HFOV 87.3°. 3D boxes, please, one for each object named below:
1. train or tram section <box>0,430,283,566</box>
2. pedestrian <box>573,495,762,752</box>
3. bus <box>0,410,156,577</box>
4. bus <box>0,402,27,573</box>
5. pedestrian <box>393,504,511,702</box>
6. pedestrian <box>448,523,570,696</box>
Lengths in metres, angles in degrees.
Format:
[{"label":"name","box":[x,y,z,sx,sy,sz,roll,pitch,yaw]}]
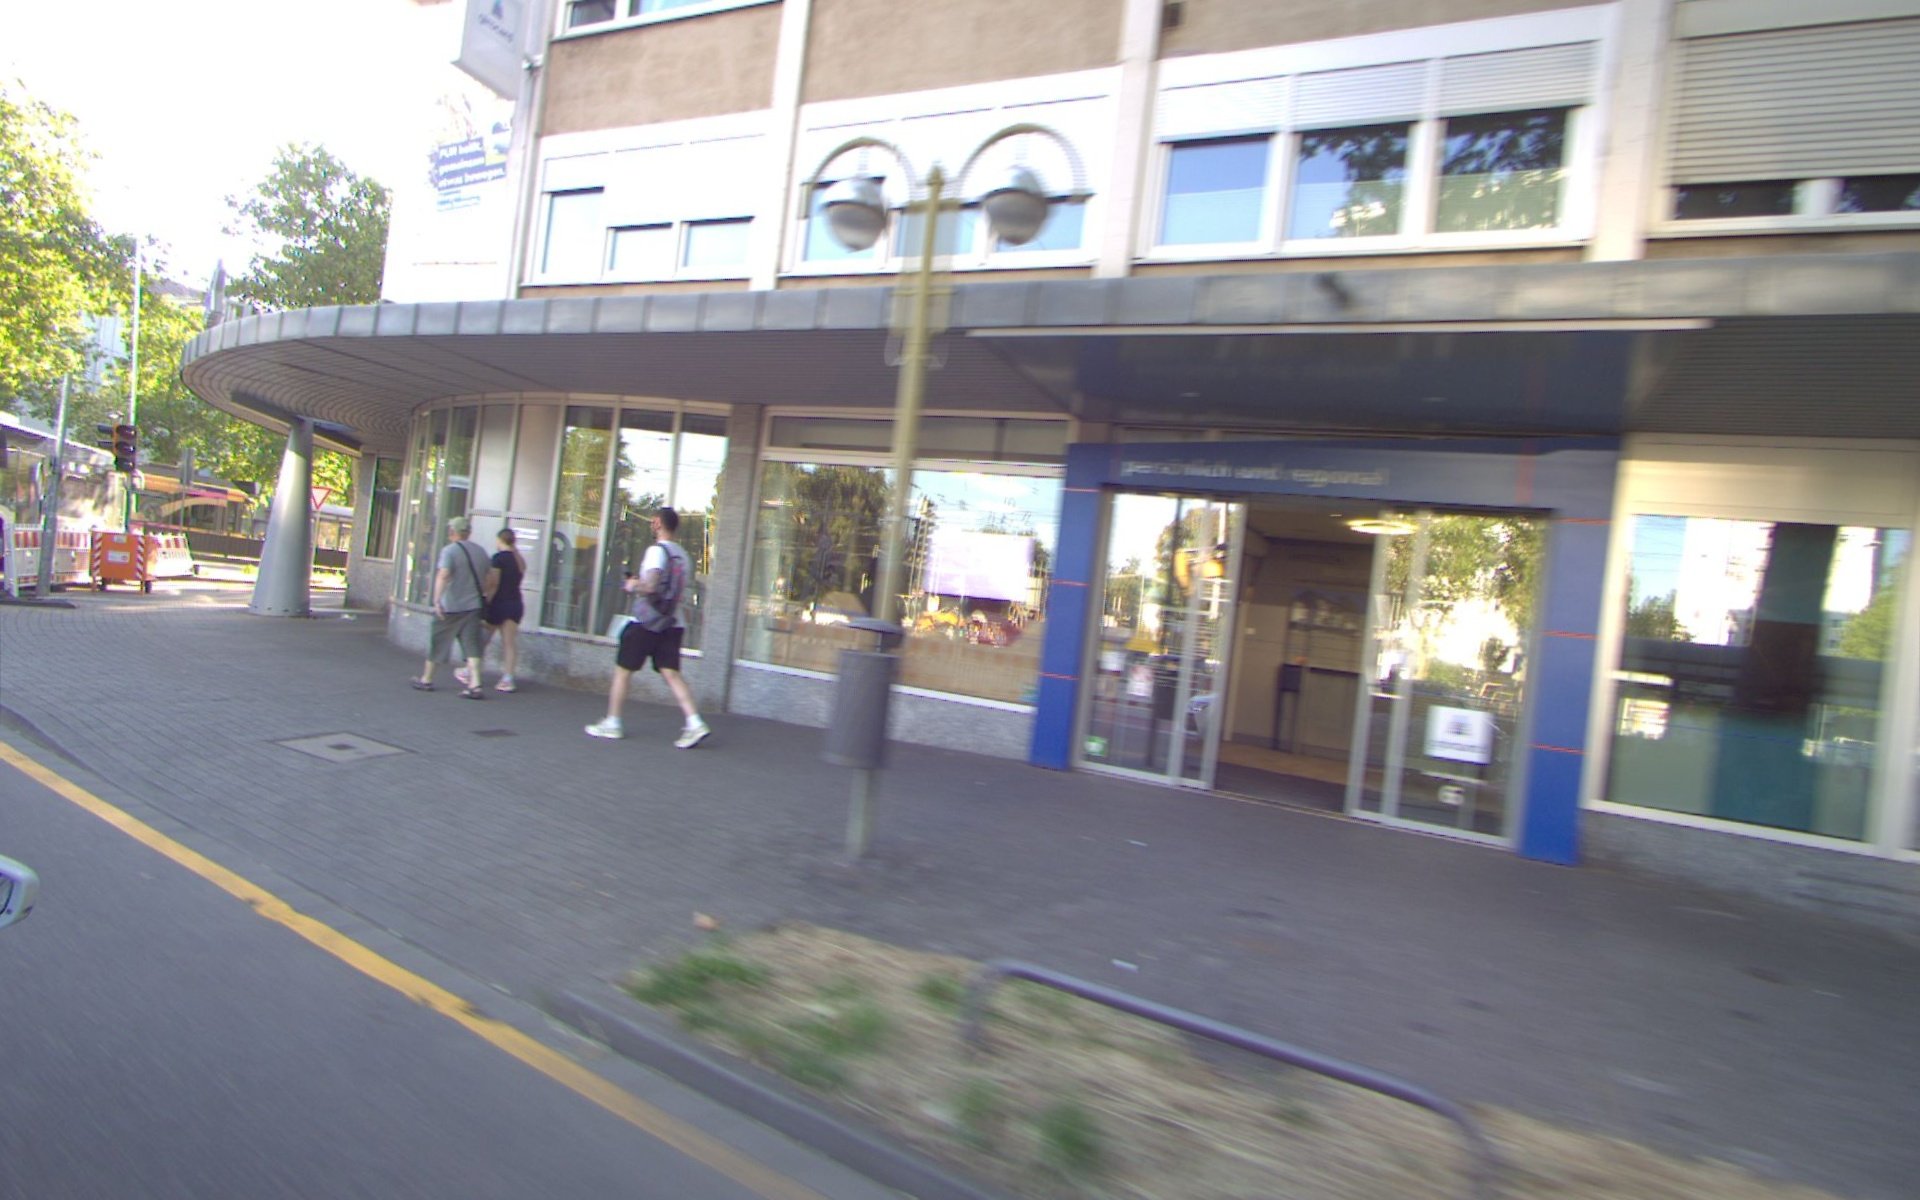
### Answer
[{"label":"train or tram section","box":[-32.684,-3.832,37.698,2.599,3.560,13.347,7,-2,16]},{"label":"pedestrian","box":[-2.393,0.167,8.263,1.080,1.896,0.838,7,4,24]},{"label":"bus","box":[-21.233,-2.361,22.581,2.684,3.144,8.924,7,-1,-25]},{"label":"bus","box":[-16.883,-1.968,14.826,2.717,3.177,10.604,7,-1,-34]},{"label":"pedestrian","box":[-4.758,0.025,9.431,0.667,1.731,0.584,7,3,25]},{"label":"pedestrian","box":[-4.485,0.093,10.024,0.760,1.594,0.634,8,3,24]}]
